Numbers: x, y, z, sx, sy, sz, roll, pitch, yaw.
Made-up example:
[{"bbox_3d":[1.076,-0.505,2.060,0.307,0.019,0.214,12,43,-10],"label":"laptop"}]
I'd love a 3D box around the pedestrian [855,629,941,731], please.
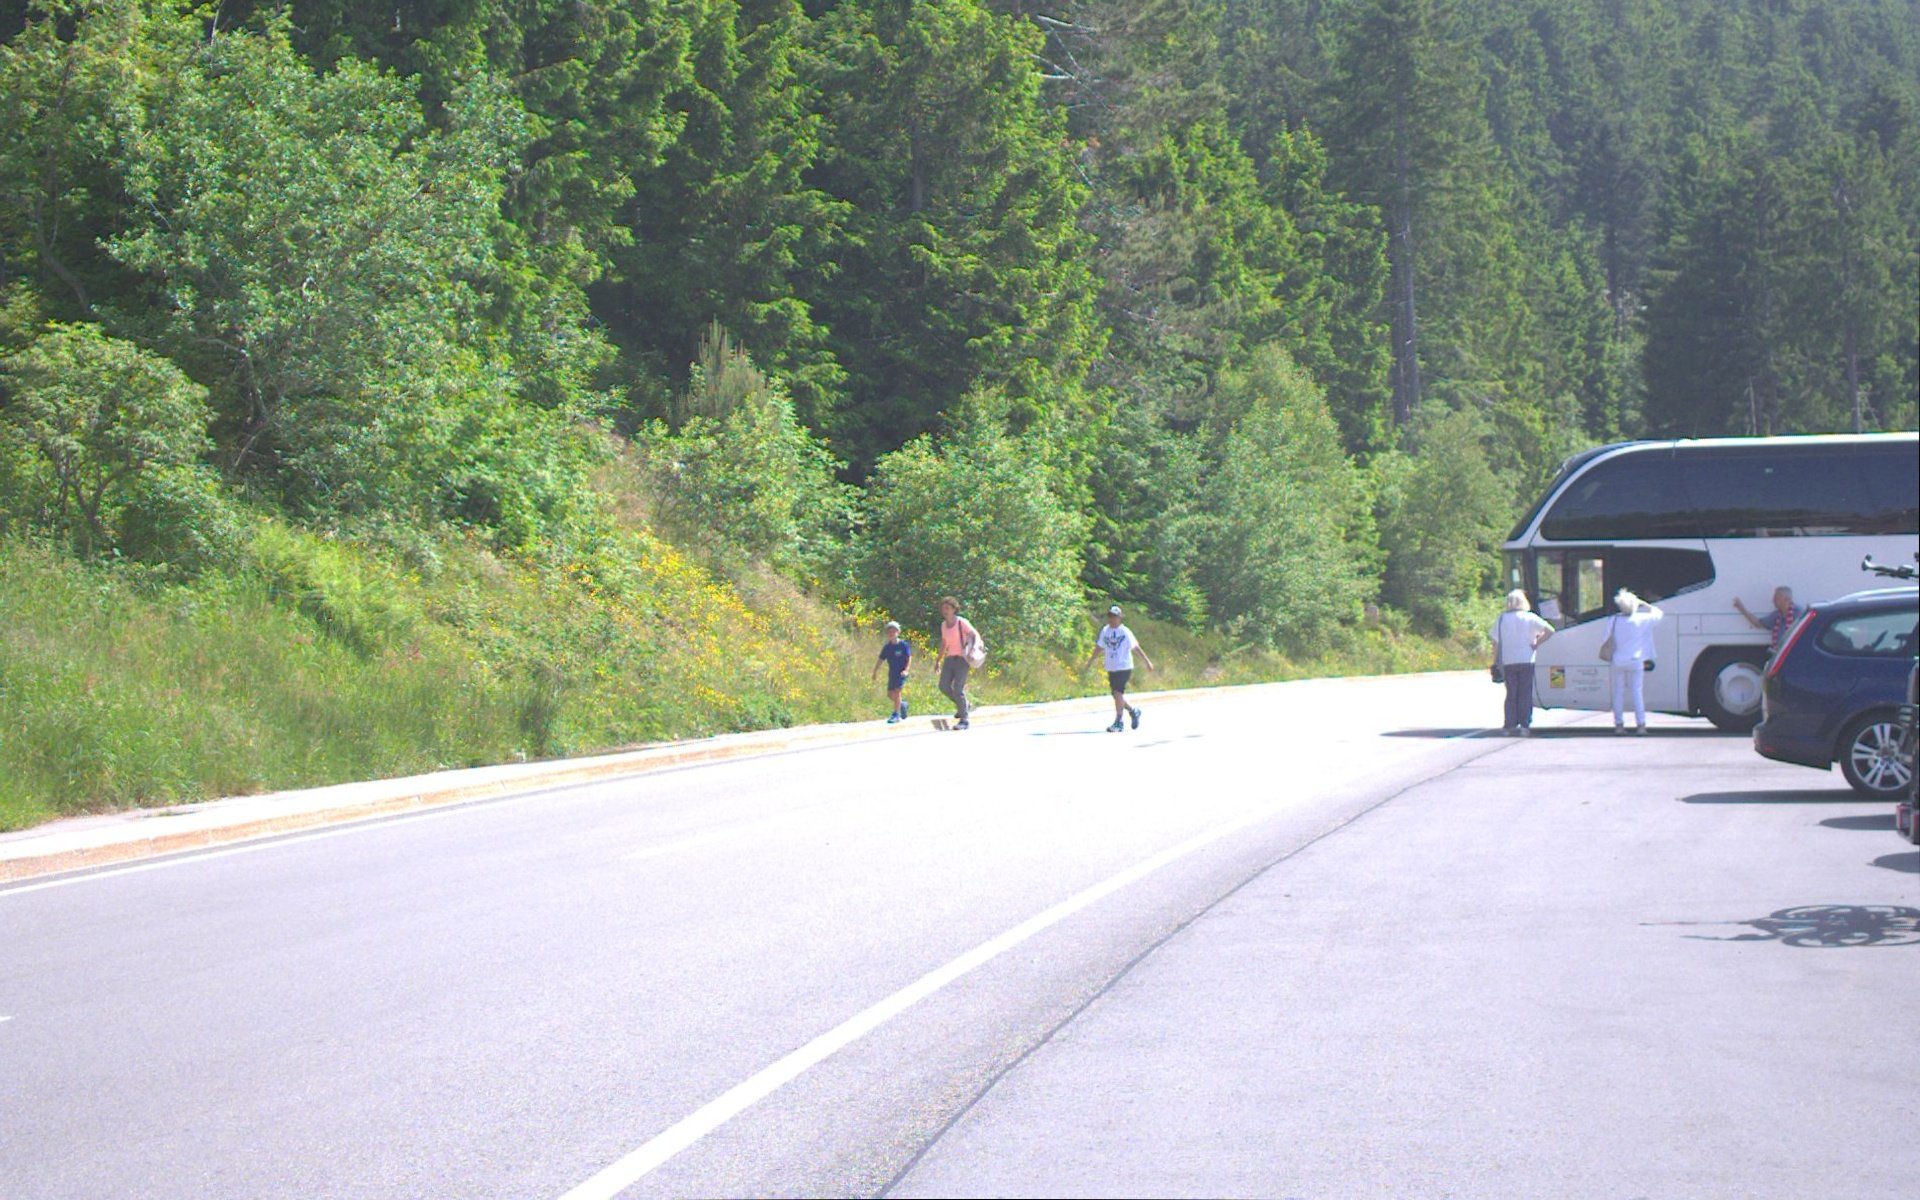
[{"bbox_3d":[-0.802,1.032,44.511,0.782,1.275,0.735,-2,0,36],"label":"pedestrian"}]

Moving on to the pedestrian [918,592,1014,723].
[{"bbox_3d":[0.079,0.757,45.262,0.869,1.677,0.854,-2,0,40],"label":"pedestrian"}]

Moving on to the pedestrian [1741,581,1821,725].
[{"bbox_3d":[9.256,0.595,38.739,0.770,1.580,0.772,-2,0,18],"label":"pedestrian"}]

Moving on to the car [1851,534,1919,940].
[{"bbox_3d":[6.478,0.465,14.555,5.036,1.645,2.047,-2,0,10],"label":"car"}]

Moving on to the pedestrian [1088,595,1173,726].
[{"bbox_3d":[2.119,0.748,42.781,0.853,1.580,0.818,-2,0,-8],"label":"pedestrian"}]

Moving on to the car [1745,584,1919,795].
[{"bbox_3d":[7.807,0.587,24.920,3.988,1.444,1.860,-2,0,10],"label":"car"}]

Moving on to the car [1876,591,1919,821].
[{"bbox_3d":[7.909,0.587,21.600,3.988,1.393,1.619,-2,0,10],"label":"car"}]

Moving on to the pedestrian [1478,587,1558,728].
[{"bbox_3d":[6.404,0.653,39.446,0.771,1.580,0.772,-2,0,17],"label":"pedestrian"}]

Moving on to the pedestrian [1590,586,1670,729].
[{"bbox_3d":[7.601,0.649,38.983,0.771,1.580,0.772,-2,0,17],"label":"pedestrian"}]

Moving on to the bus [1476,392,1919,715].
[{"bbox_3d":[12.764,-0.641,39.428,13.106,3.520,3.040,-2,0,20],"label":"bus"}]
